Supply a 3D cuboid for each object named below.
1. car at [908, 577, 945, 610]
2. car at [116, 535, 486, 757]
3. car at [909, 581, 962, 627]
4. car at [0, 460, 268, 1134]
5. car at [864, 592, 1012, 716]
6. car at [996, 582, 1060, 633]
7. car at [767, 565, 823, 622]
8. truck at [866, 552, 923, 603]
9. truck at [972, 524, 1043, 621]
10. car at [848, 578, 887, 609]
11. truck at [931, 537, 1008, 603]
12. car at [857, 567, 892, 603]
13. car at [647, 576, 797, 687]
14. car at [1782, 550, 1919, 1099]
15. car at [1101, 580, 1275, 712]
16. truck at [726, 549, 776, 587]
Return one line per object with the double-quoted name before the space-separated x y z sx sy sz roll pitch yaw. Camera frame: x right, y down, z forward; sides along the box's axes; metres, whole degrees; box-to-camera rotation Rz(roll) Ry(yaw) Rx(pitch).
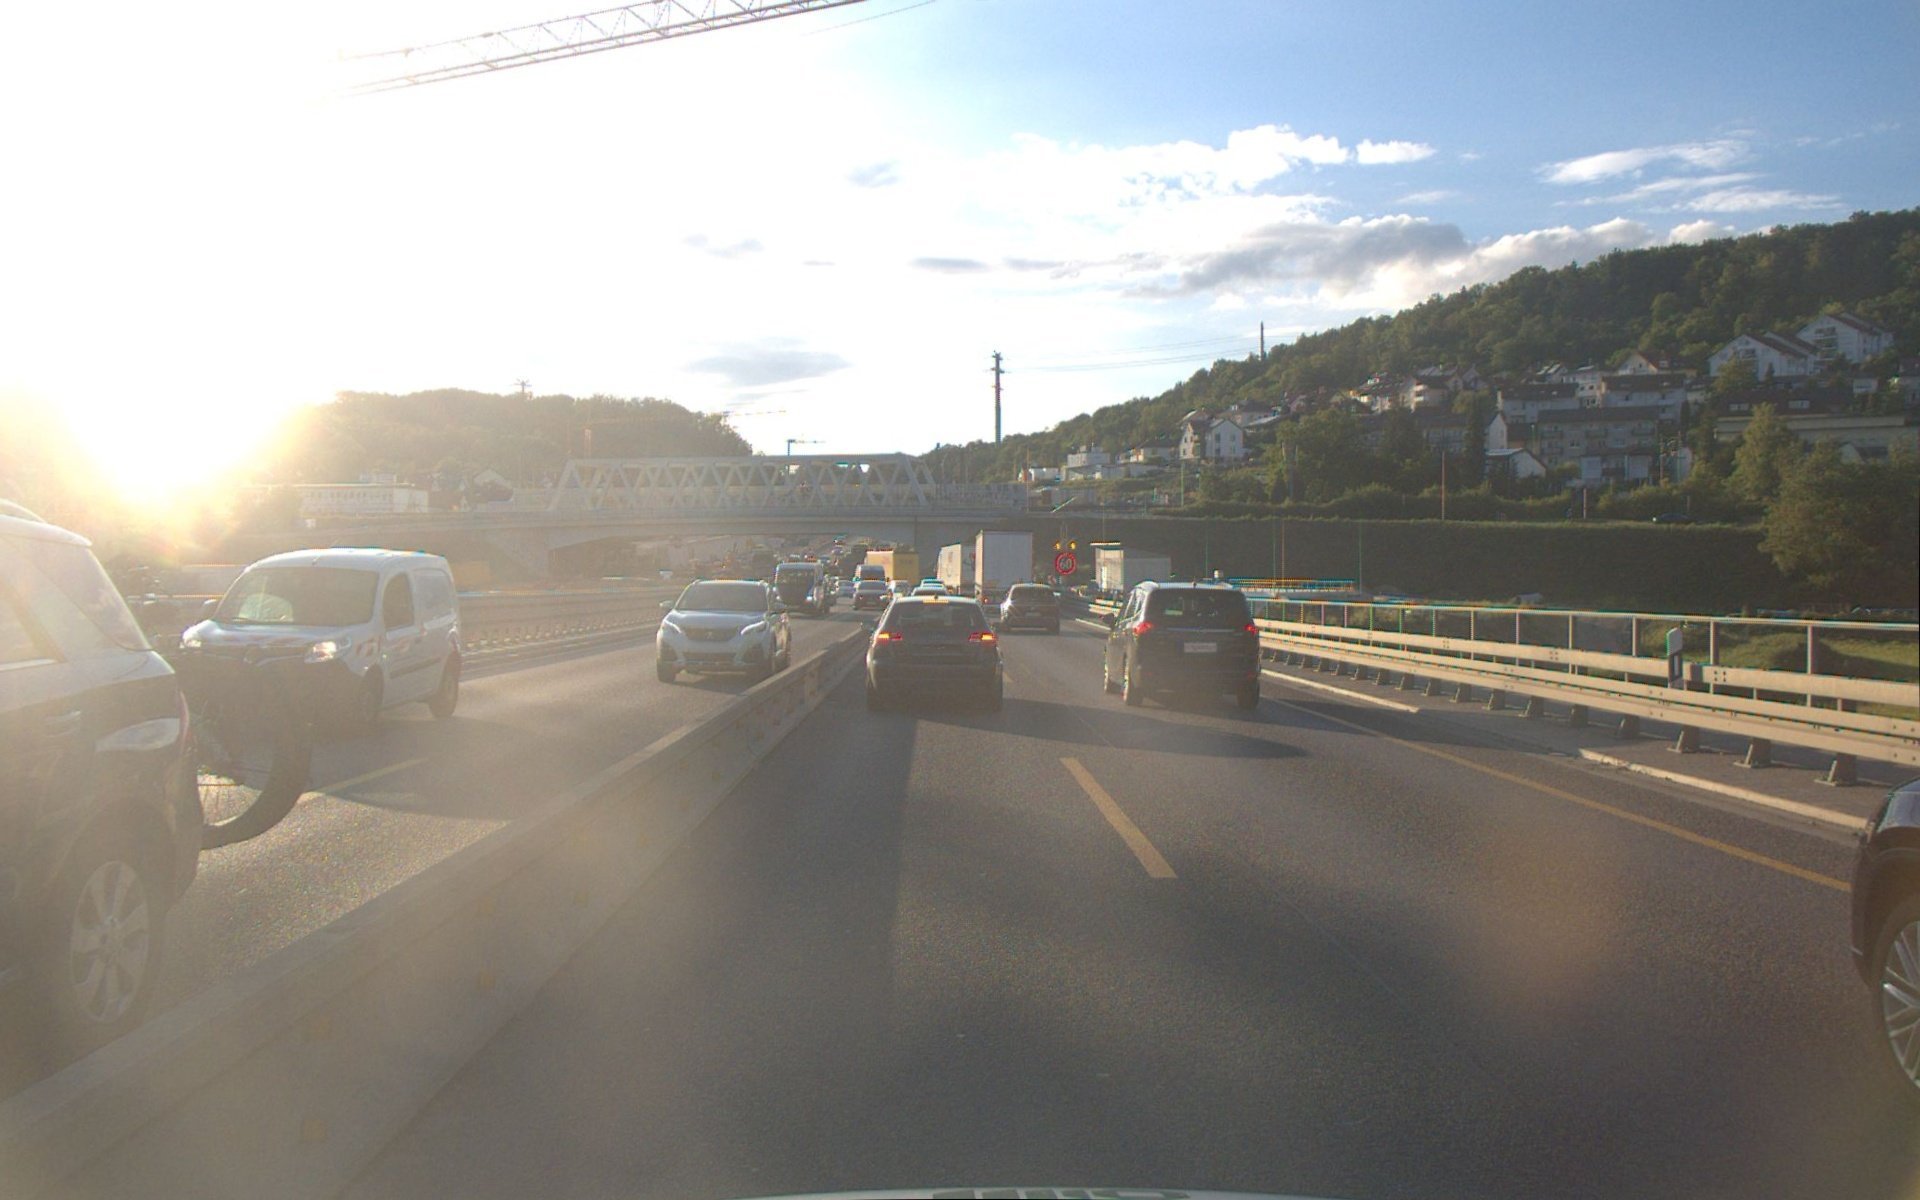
"car" -1.620 -0.338 81.064 1.729 1.512 4.000 2 1 -1
"car" -6.575 0.400 17.092 1.953 1.888 4.283 3 0 1
"car" -0.892 0.113 58.348 1.730 1.512 3.998 2 1 -3
"car" -3.451 0.507 3.802 1.890 1.784 4.670 1 0 -3
"car" -0.325 0.634 21.747 1.734 1.414 3.999 1 1 -2
"car" 2.267 0.227 56.081 1.735 1.579 3.998 2 1 -3
"car" -7.168 -0.295 72.262 1.953 2.364 5.933 1 0 -1
"truck" -6.463 -2.265 160.969 3.819 4.576 13.821 1 2 -9
"truck" 2.342 -1.370 87.283 3.316 4.577 15.268 1 0 0
"car" -4.931 -0.380 87.854 1.954 1.556 5.777 1 1 -4
"truck" 0.544 -2.216 124.233 3.817 4.577 15.243 1 0 -7
"car" -6.239 -1.087 119.613 2.034 2.500 6.257 1 1 -7
"car" -3.807 0.465 27.116 1.800 1.668 4.001 0 0 1
"car" 3.812 0.686 3.240 1.837 1.627 4.964 1 0 -1
"car" 3.125 0.564 23.508 1.777 1.661 4.410 1 1 -1
"truck" -23.154 -3.546 182.345 2.890 3.958 10.194 1 1 -22
